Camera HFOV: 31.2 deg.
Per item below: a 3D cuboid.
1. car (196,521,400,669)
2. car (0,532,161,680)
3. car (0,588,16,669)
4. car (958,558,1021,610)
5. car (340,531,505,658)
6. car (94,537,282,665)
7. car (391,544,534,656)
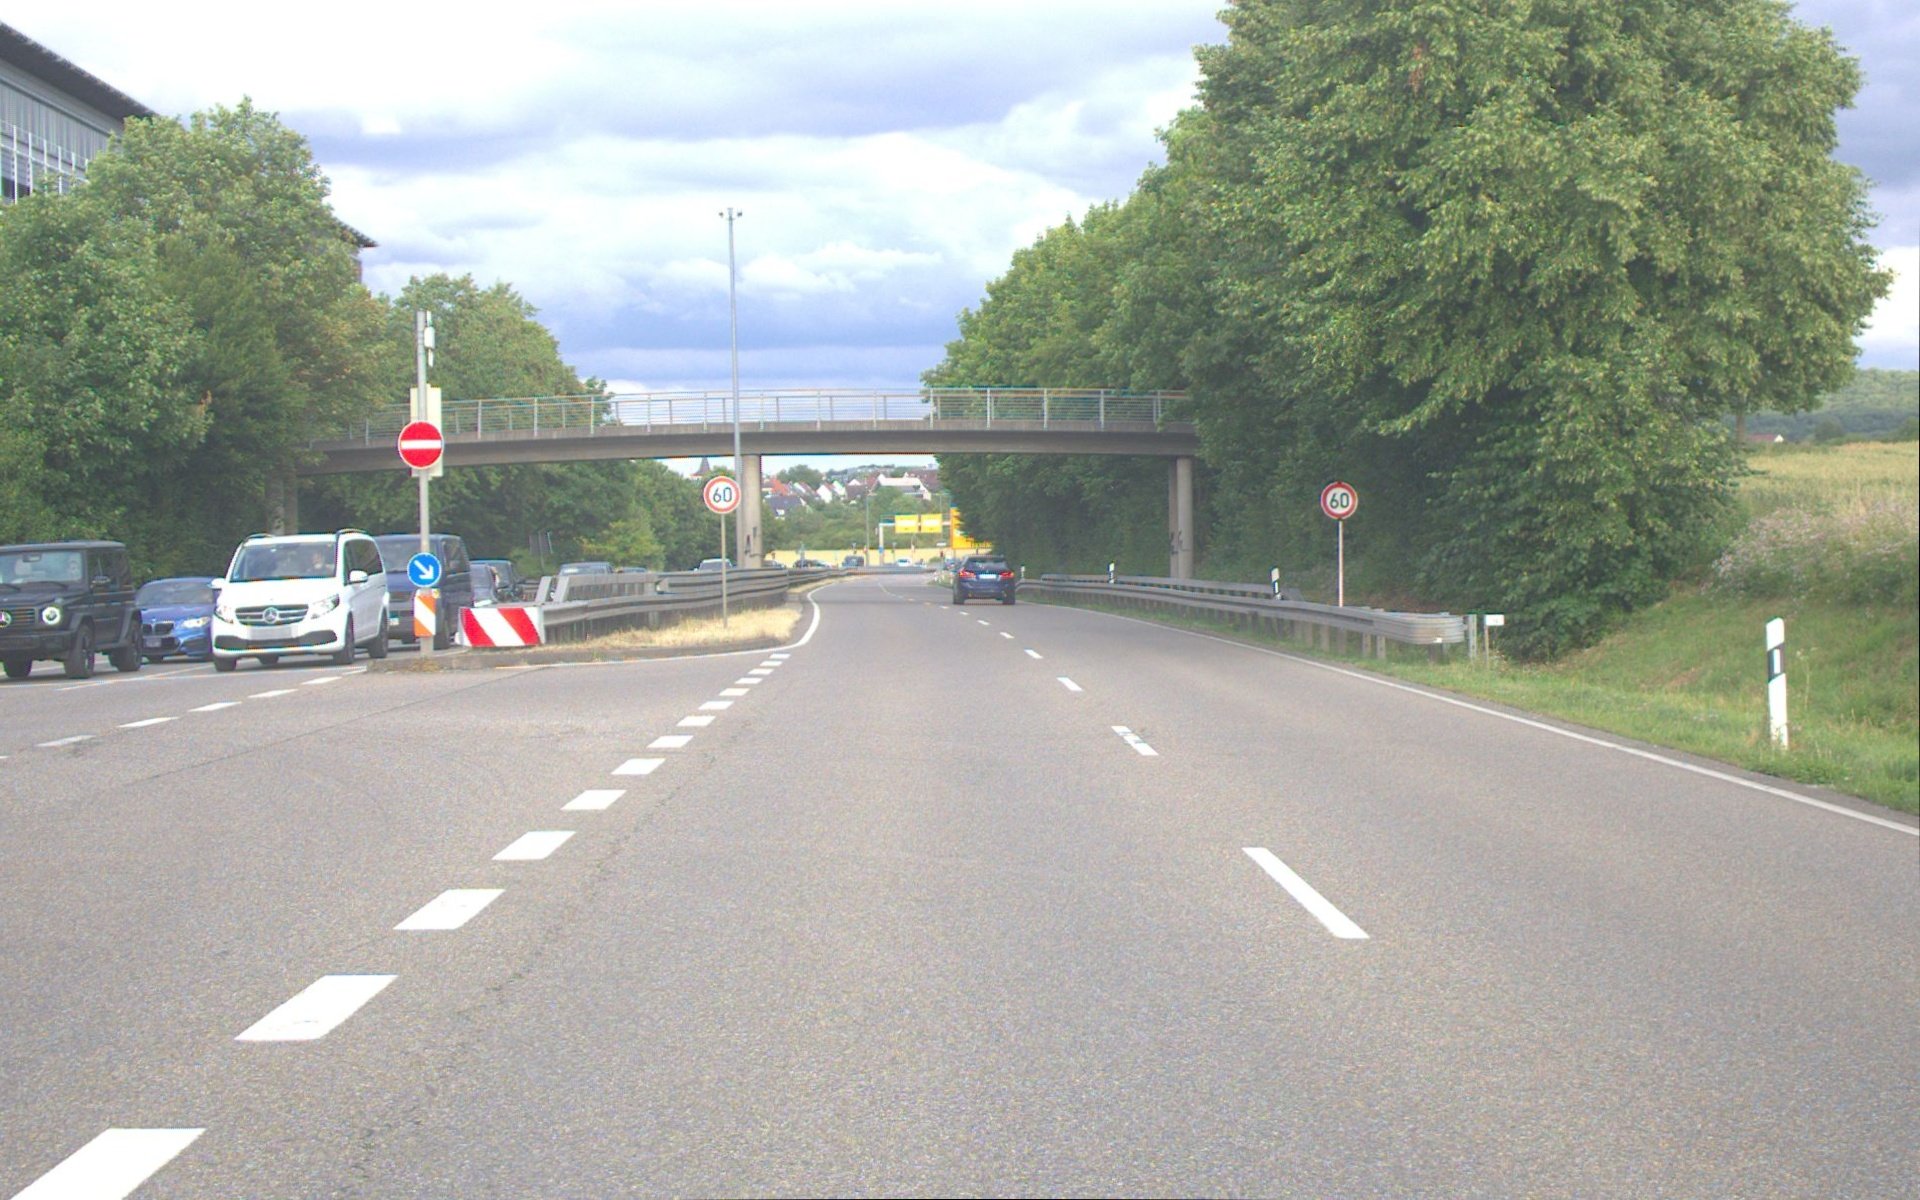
[{"bbox_3d":[-9.515,-0.093,49.850,2.083,2.007,5.217,1,0,-2],"label":"car"},{"bbox_3d":[-13.149,0.054,49.738,2.083,2.007,5.217,1,0,-2],"label":"car"},{"bbox_3d":[-17.322,0.607,56.128,1.583,1.337,3.746,-4,1,24],"label":"car"},{"bbox_3d":[0.901,-0.498,106.454,1.879,1.547,4.000,1,0,0],"label":"car"},{"bbox_3d":[-8.942,-0.111,57.587,2.083,2.007,5.217,1,0,-2],"label":"car"},{"bbox_3d":[-12.786,-0.008,57.239,2.083,2.007,5.217,1,0,-2],"label":"car"},{"bbox_3d":[-9.367,-0.021,65.154,2.083,2.007,5.217,1,0,-2],"label":"car"}]
